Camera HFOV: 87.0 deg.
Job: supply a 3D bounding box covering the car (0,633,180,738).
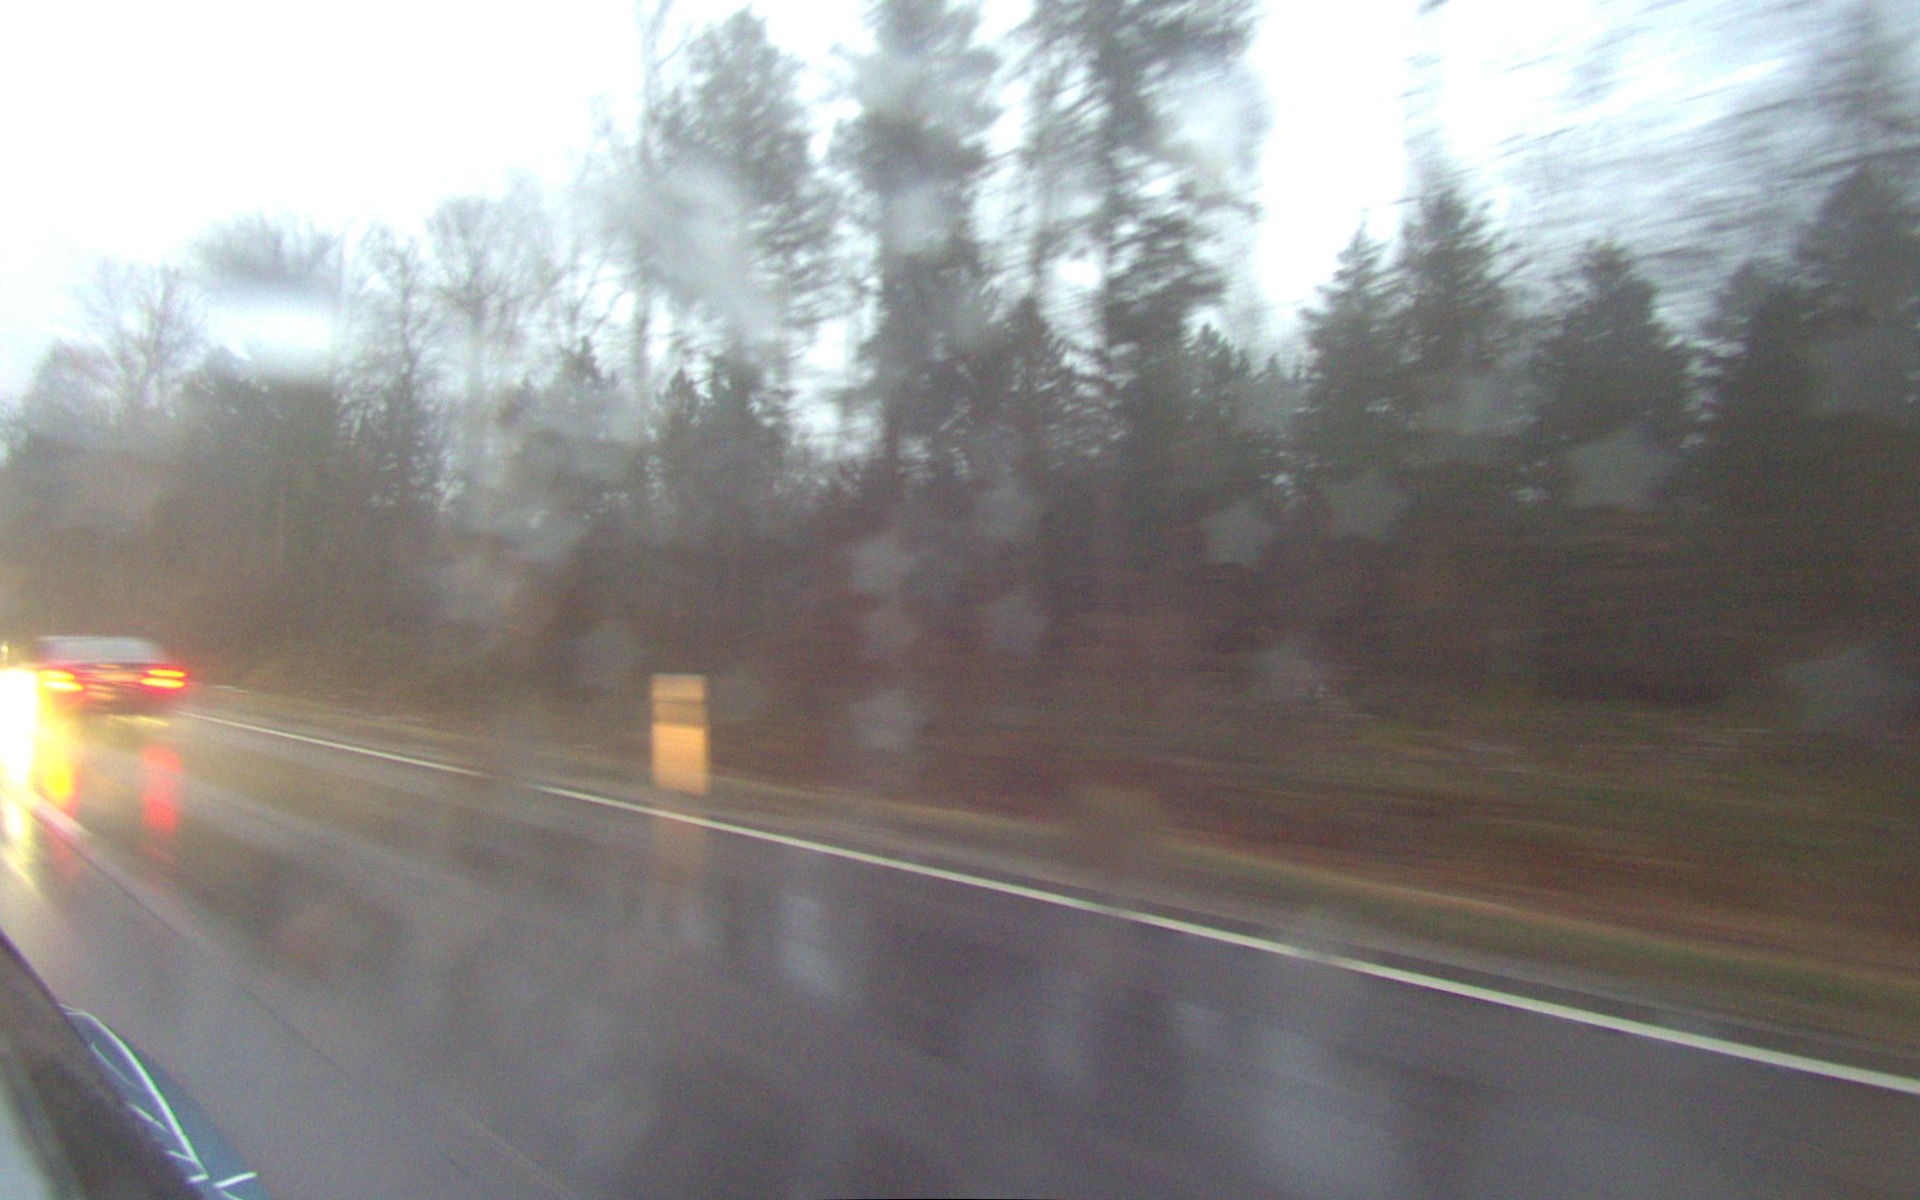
[{"bbox_3d":[-13.741,1.251,15.841,3.998,1.431,1.673,-2,-3,41],"label":"car"}]
